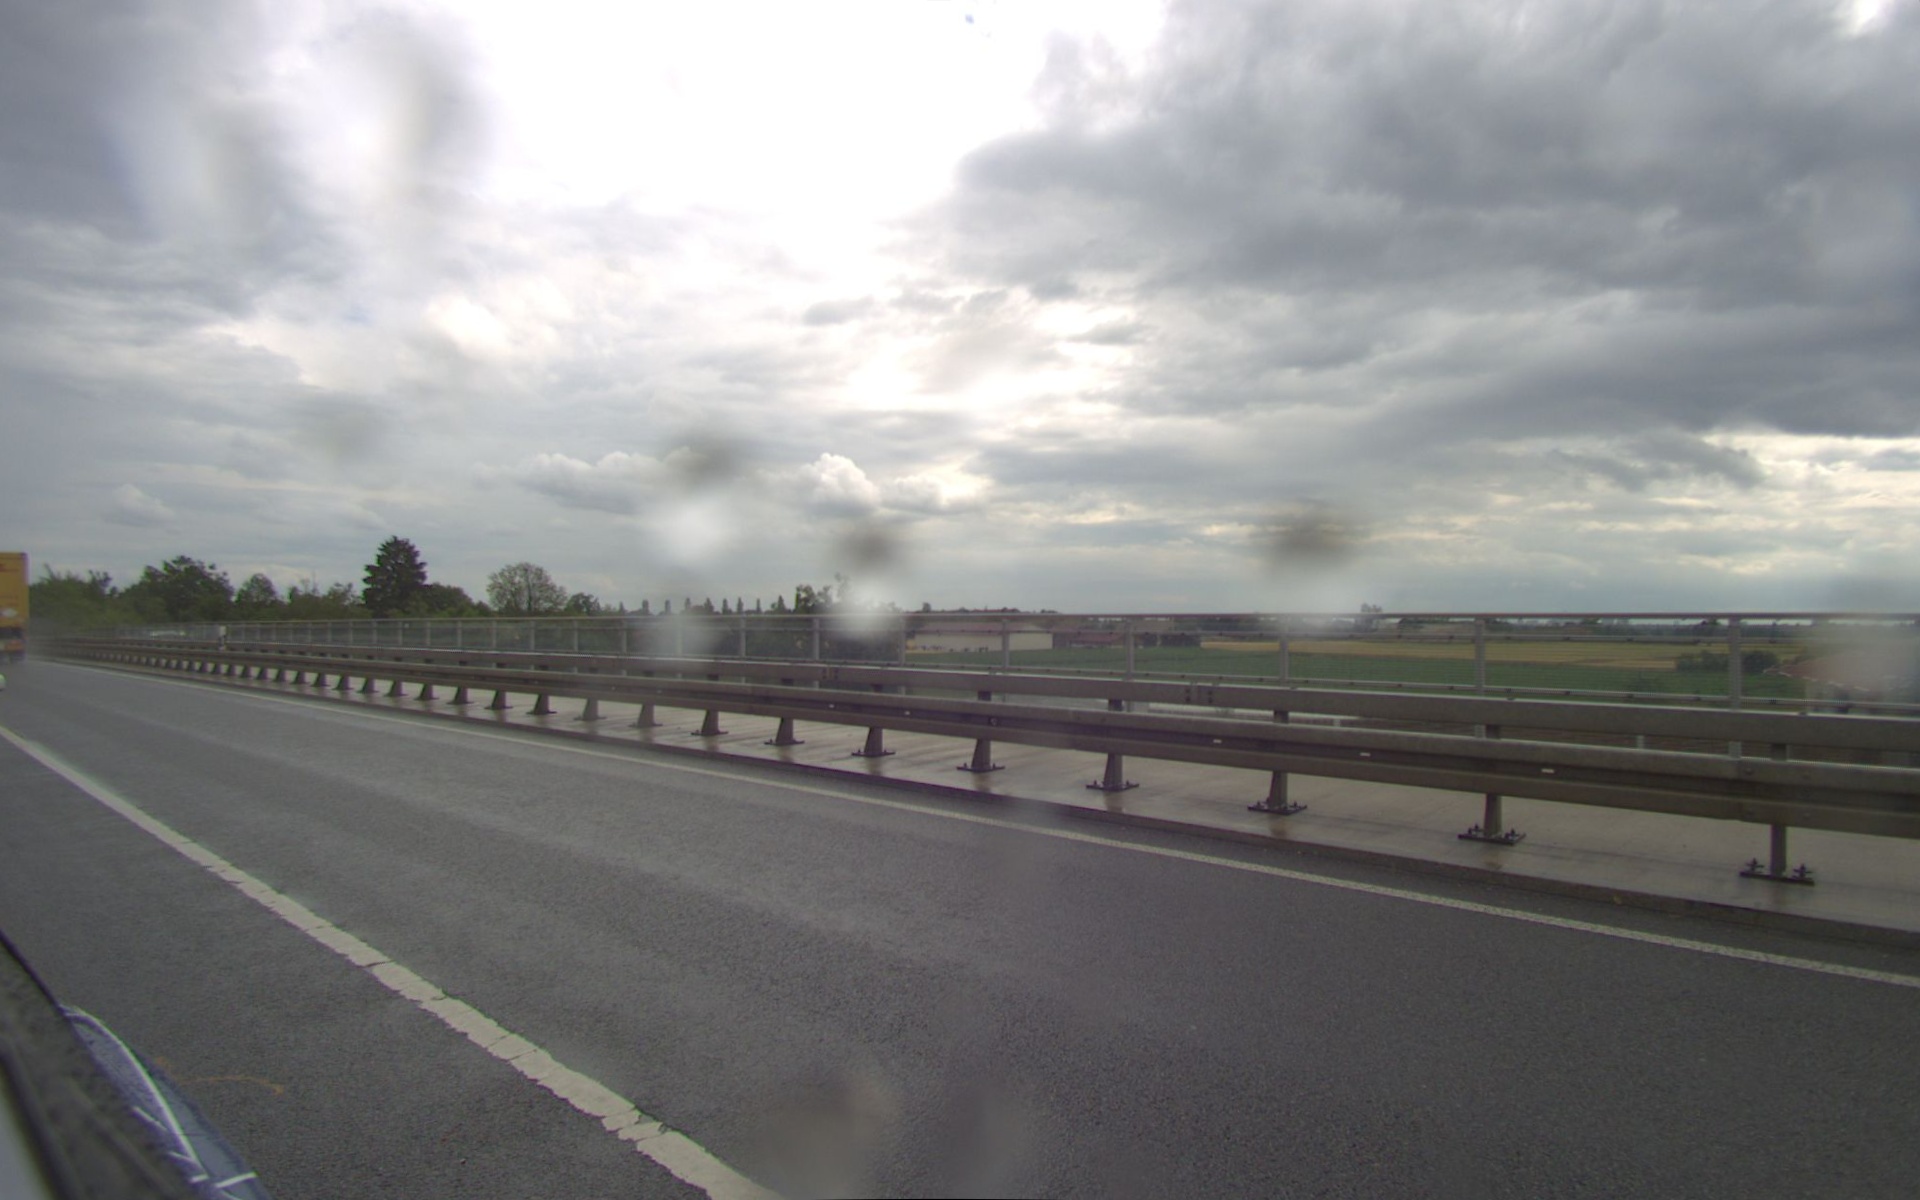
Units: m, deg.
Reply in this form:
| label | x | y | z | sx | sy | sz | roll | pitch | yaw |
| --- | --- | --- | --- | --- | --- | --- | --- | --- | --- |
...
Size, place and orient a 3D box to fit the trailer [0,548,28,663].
| label | x | y | z | sx | sy | sz | roll | pitch | yaw |
| --- | --- | --- | --- | --- | --- | --- | --- | --- | --- |
| trailer | -37.859 | 0.281 | 38.563 | 8.482 | 4.106 | 2.654 | -1 | -1 | 42 |
